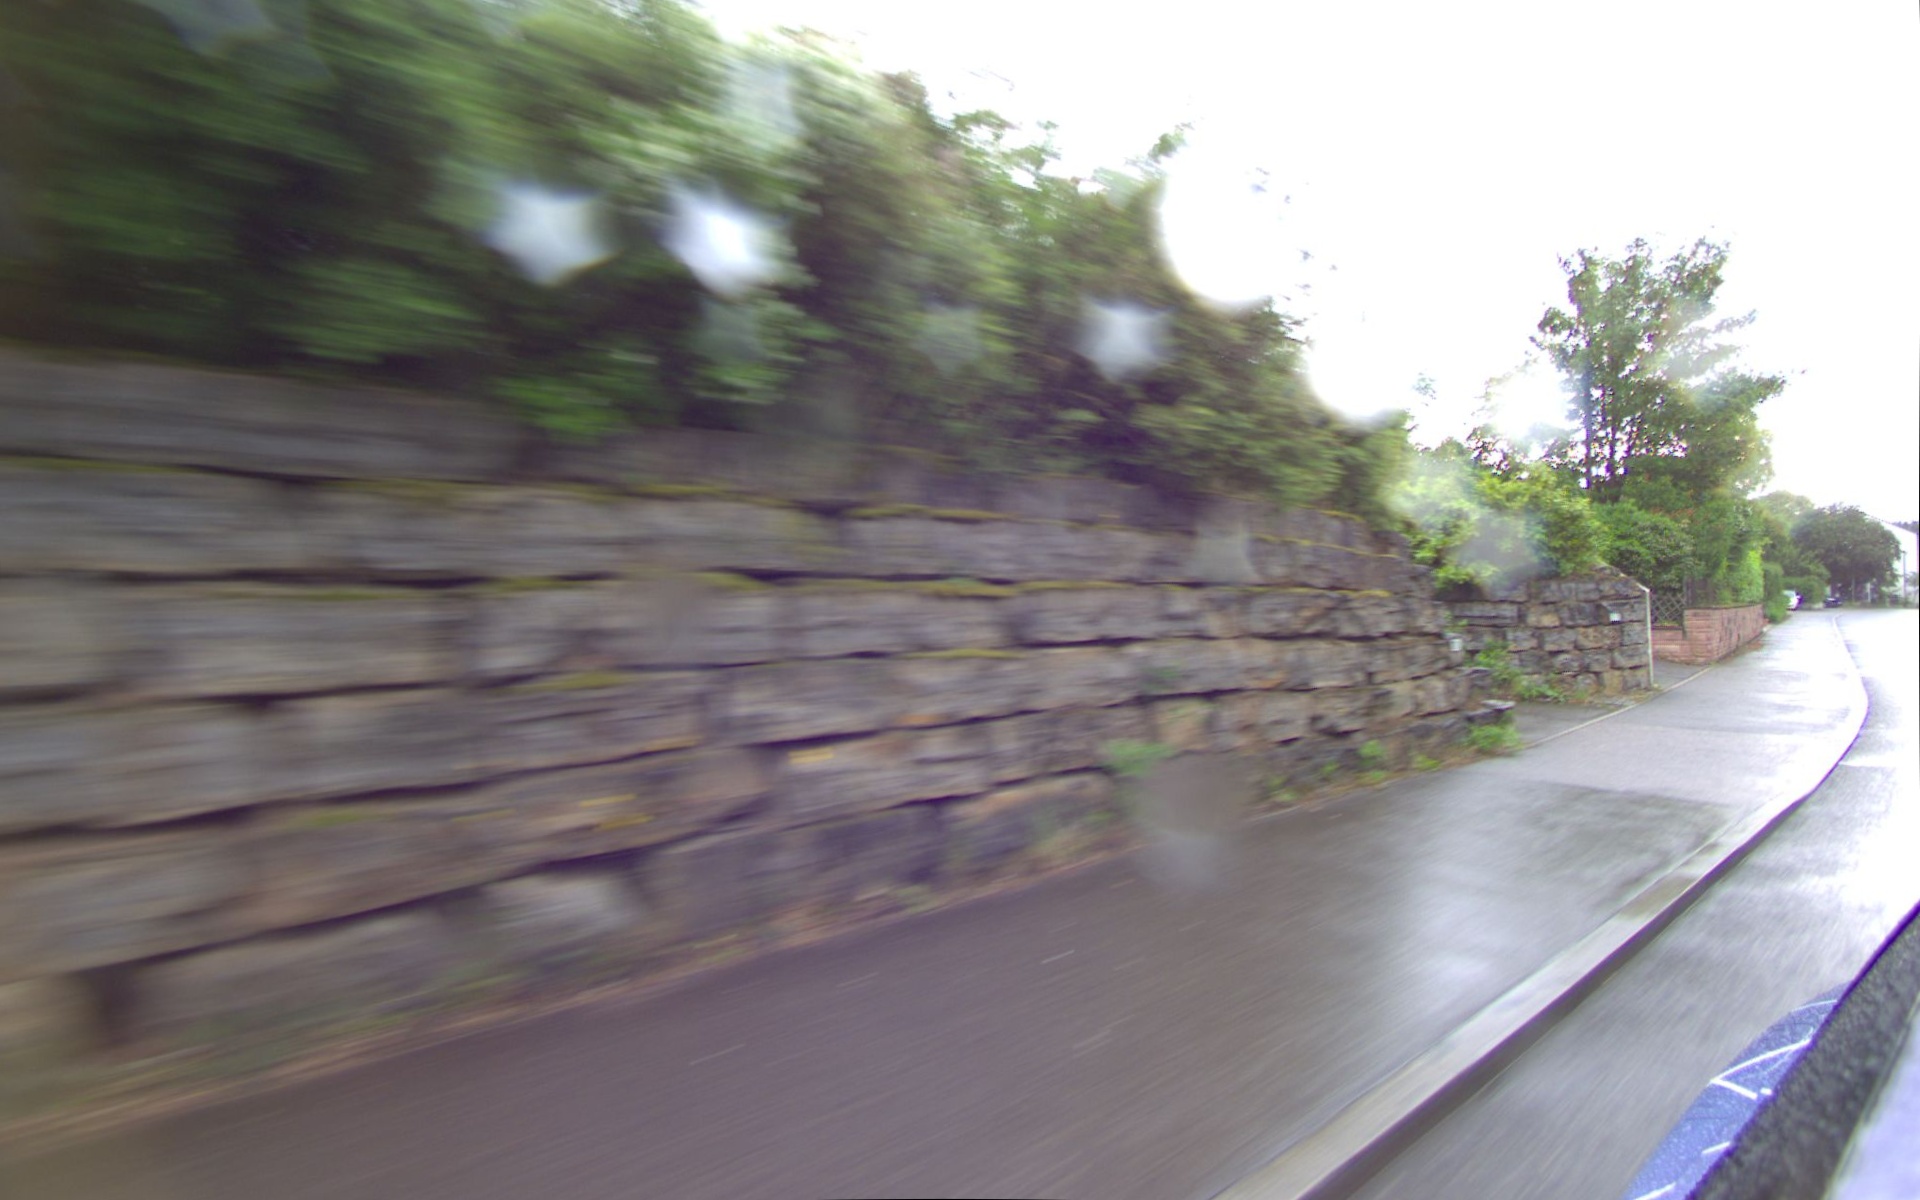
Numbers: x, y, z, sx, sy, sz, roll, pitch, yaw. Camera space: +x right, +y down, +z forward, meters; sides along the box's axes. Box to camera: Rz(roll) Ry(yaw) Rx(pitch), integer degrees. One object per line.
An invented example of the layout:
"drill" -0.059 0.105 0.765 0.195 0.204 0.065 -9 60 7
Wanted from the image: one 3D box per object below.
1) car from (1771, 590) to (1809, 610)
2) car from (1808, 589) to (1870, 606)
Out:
"car" 63.215 -0.041 77.034 1.993 1.473 3.938 0 1 43
"car" 76.356 -0.215 87.936 3.988 1.473 1.968 0 1 45
